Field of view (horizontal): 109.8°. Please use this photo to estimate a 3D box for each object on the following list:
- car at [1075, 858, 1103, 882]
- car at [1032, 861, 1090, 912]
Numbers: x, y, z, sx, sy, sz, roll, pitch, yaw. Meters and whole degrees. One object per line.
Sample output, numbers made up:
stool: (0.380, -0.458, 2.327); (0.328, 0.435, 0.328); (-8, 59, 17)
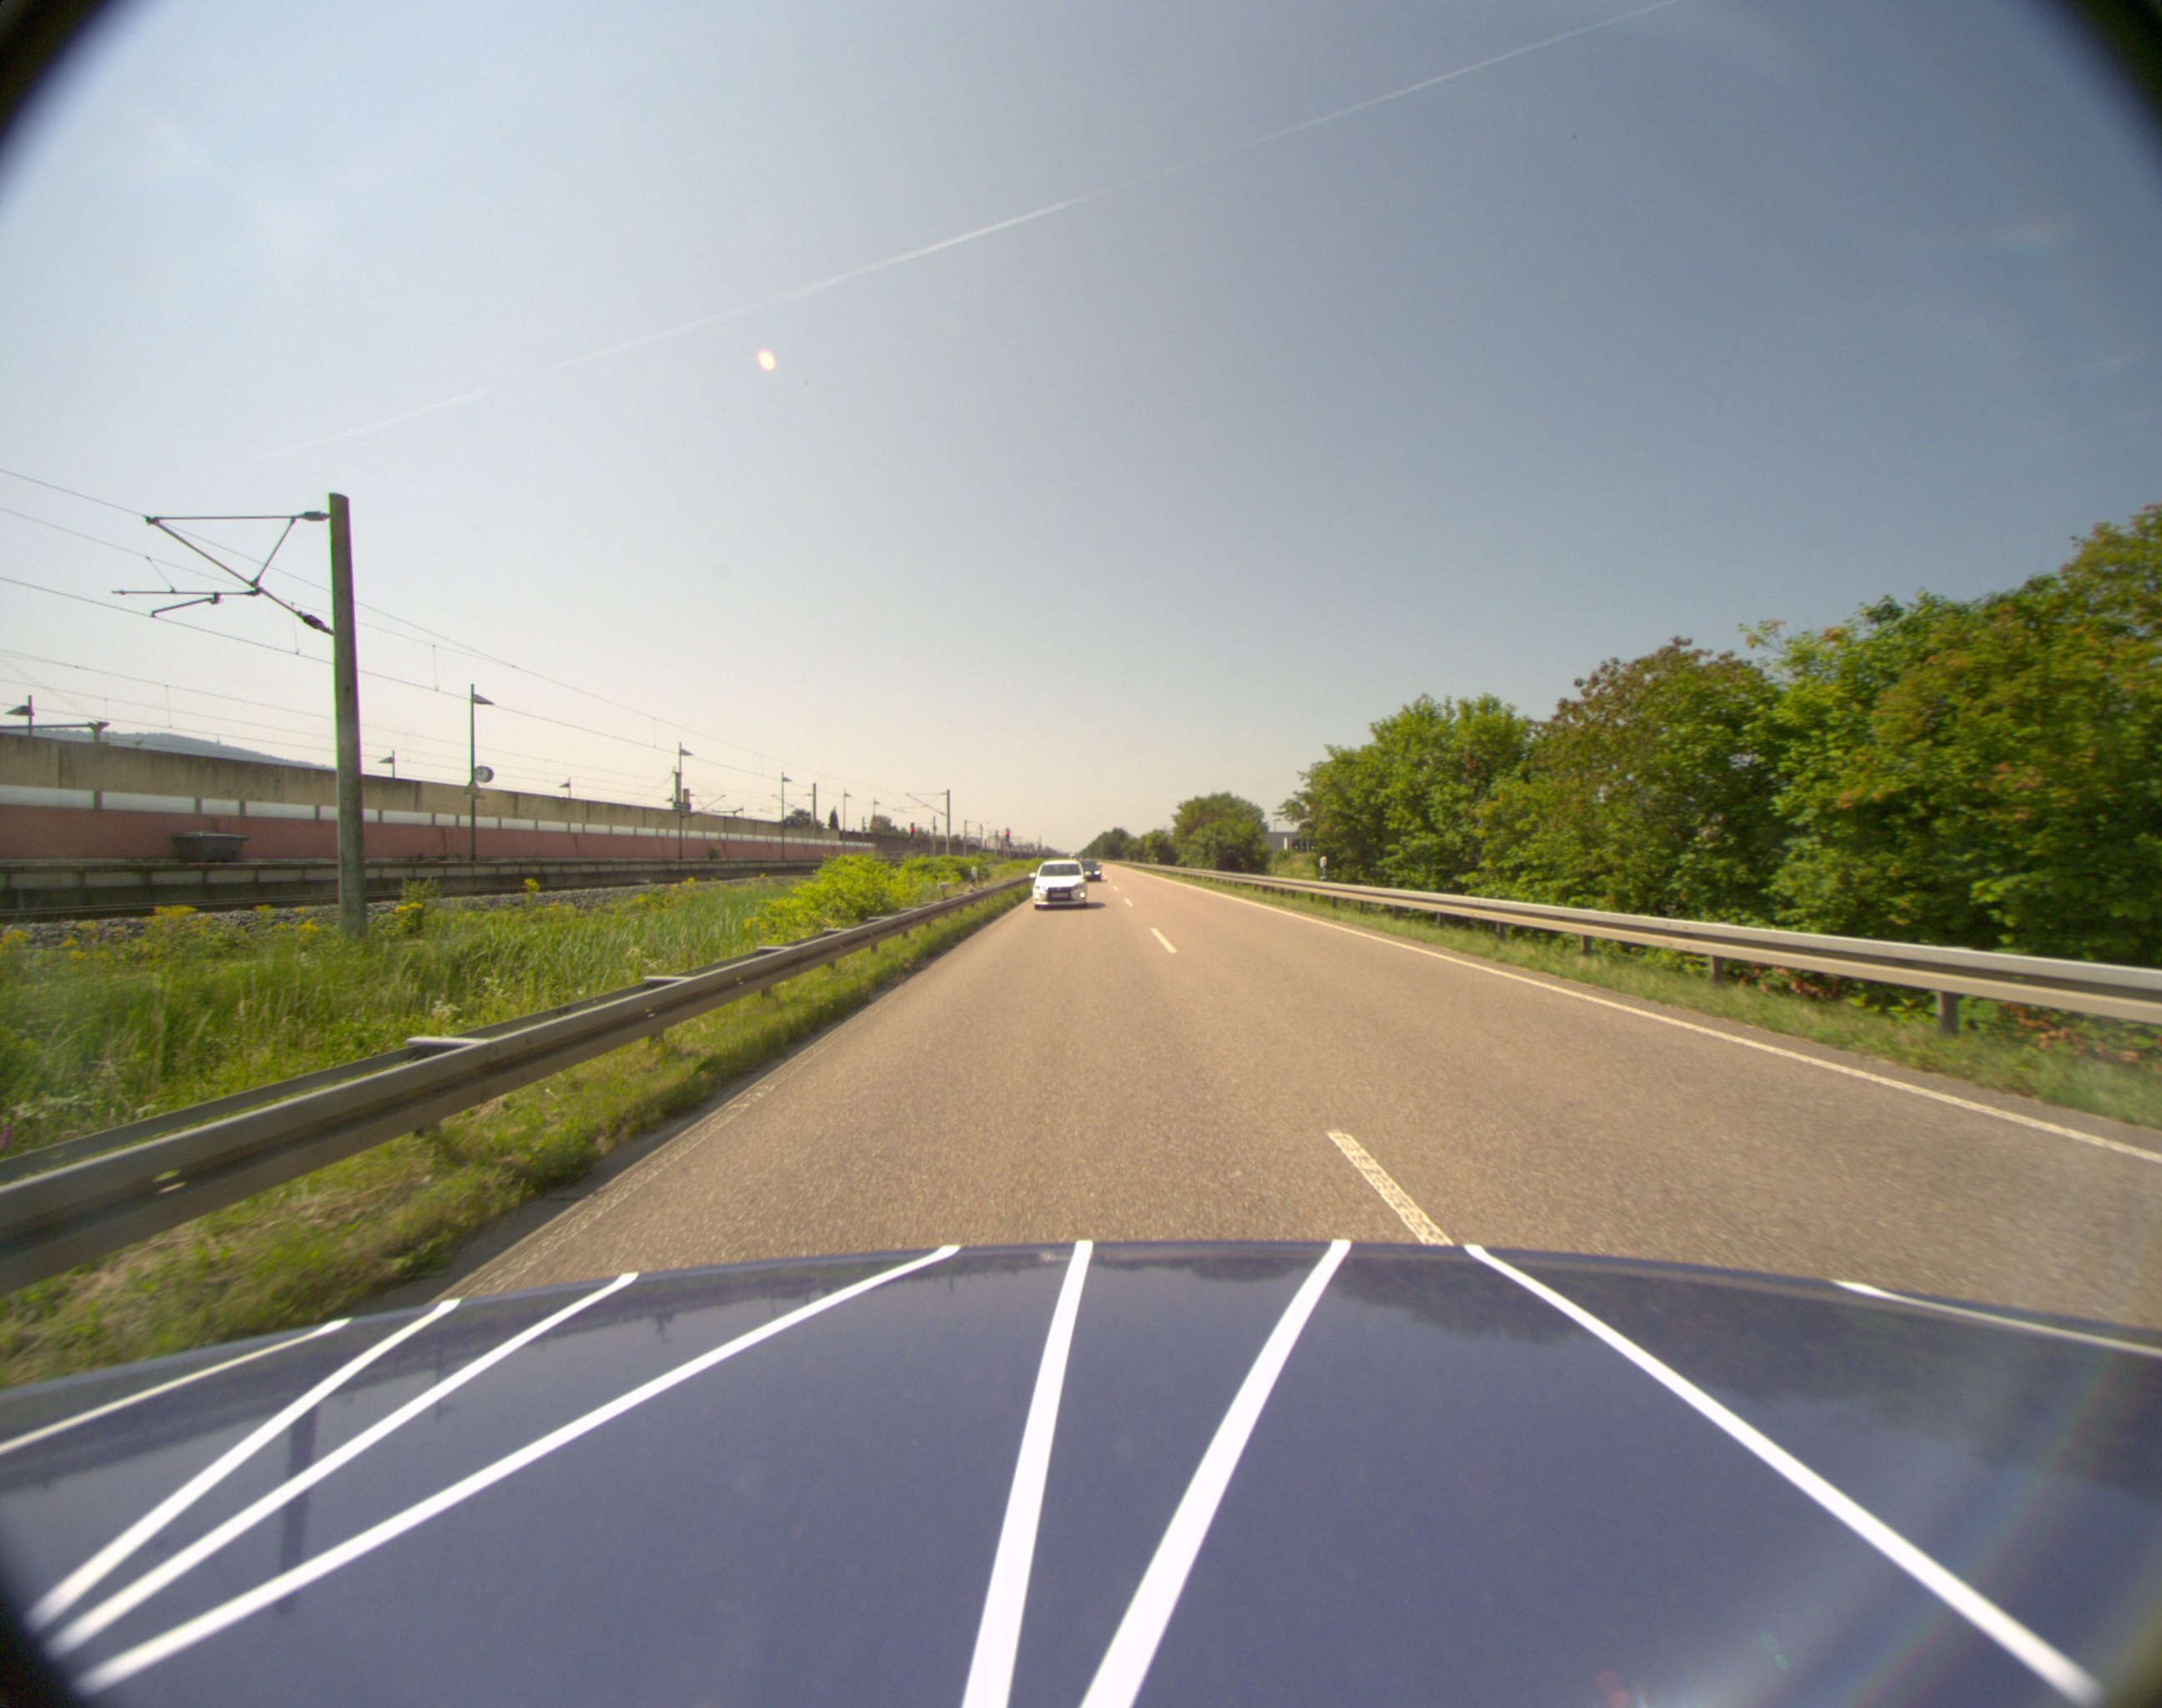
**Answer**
car: (0.486, 1.002, 50.033); (1.711, 1.470, 4.154); (-1, 0, -2)
car: (-0.645, 0.983, 24.864); (1.701, 1.470, 4.154); (-1, 0, -2)
